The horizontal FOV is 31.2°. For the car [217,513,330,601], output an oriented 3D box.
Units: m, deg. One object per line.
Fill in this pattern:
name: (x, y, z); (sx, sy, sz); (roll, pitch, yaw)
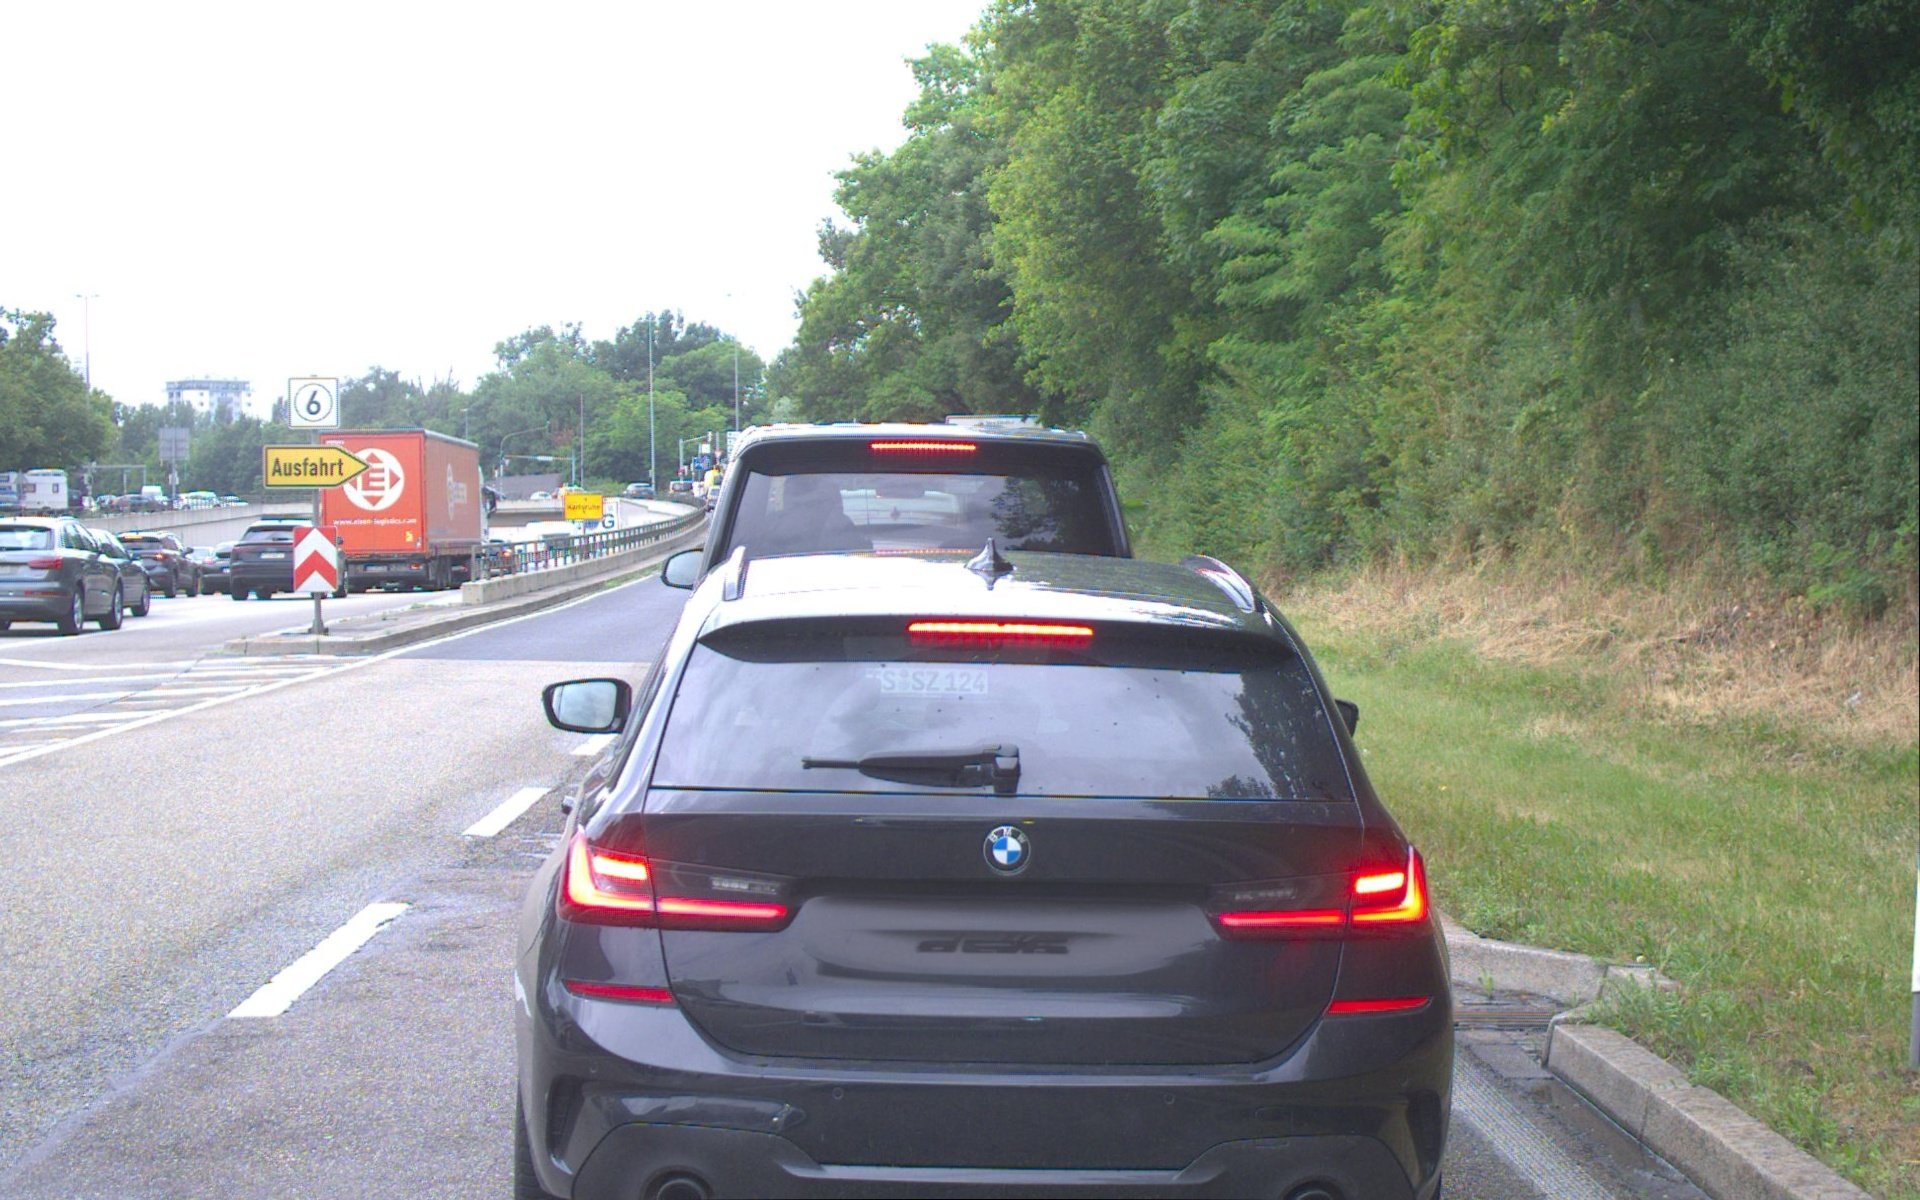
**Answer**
car: (-14.708, -0.923, 73.840); (1.860, 1.809, 4.001); (1, 1, -4)

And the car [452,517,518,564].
car: (-15.388, -1.936, 111.474); (1.777, 1.477, 4.001); (0, 1, -3)

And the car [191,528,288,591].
car: (-18.938, -1.066, 90.491); (1.859, 1.612, 4.000); (1, 1, -3)

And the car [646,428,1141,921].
car: (-0.286, 0.255, 14.861); (1.822, 1.815, 4.000); (1, 1, -1)

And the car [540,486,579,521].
car: (-18.503, -4.456, 158.901); (1.556, 1.546, 4.001); (1, 1, -4)

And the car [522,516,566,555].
car: (-16.606, -2.593, 137.364); (1.556, 1.546, 4.001); (0, 1, -4)

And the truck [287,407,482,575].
truck: (-14.938, -2.832, 90.435); (3.489, 4.059, 13.594); (-1, 2, -3)

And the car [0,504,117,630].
car: (-12.716, -0.476, 46.590); (1.792, 1.634, 4.001); (0, 1, -3)

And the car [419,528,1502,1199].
car: (-0.085, 0.597, 7.824); (1.825, 1.477, 4.001); (-1, 2, -3)

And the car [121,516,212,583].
car: (-18.629, -1.191, 80.807); (1.521, 1.514, 4.001); (1, 1, -5)

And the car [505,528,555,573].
car: (-15.293, -1.763, 122.390); (1.556, 1.546, 3.819); (1, 1, -4)
